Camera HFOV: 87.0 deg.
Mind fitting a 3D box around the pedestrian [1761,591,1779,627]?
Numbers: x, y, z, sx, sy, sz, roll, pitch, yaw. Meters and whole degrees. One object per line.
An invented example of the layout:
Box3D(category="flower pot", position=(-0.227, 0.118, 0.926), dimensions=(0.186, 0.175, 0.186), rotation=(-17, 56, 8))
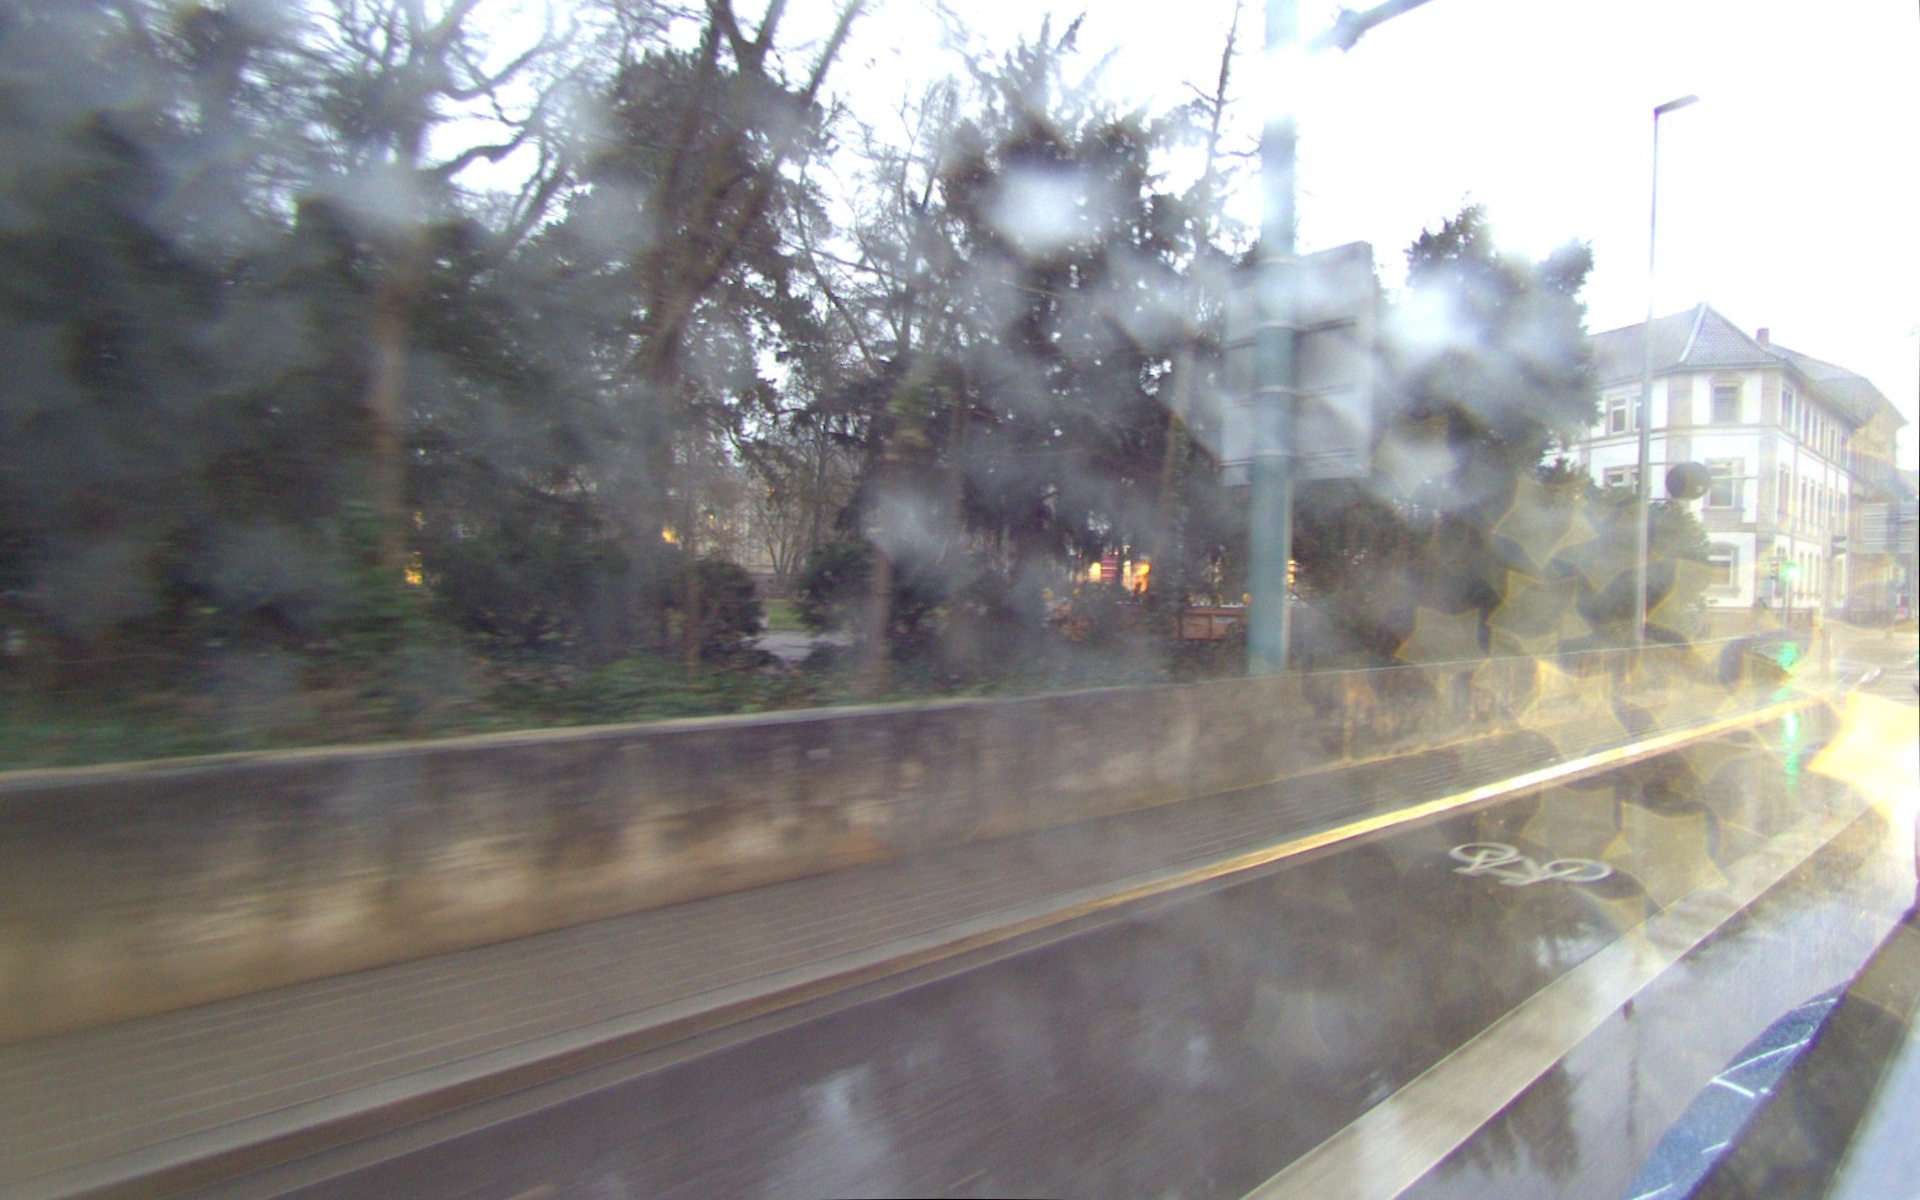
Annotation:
Box3D(category="pedestrian", position=(35.161, 0.373, 43.919), dimensions=(0.578, 1.529, 0.520), rotation=(1, 1, -45))

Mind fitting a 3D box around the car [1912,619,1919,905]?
Box3D(category="car", position=(6.712, 0.785, 5.578), dimensions=(3.912, 1.388, 1.796), rotation=(0, 0, -42))
